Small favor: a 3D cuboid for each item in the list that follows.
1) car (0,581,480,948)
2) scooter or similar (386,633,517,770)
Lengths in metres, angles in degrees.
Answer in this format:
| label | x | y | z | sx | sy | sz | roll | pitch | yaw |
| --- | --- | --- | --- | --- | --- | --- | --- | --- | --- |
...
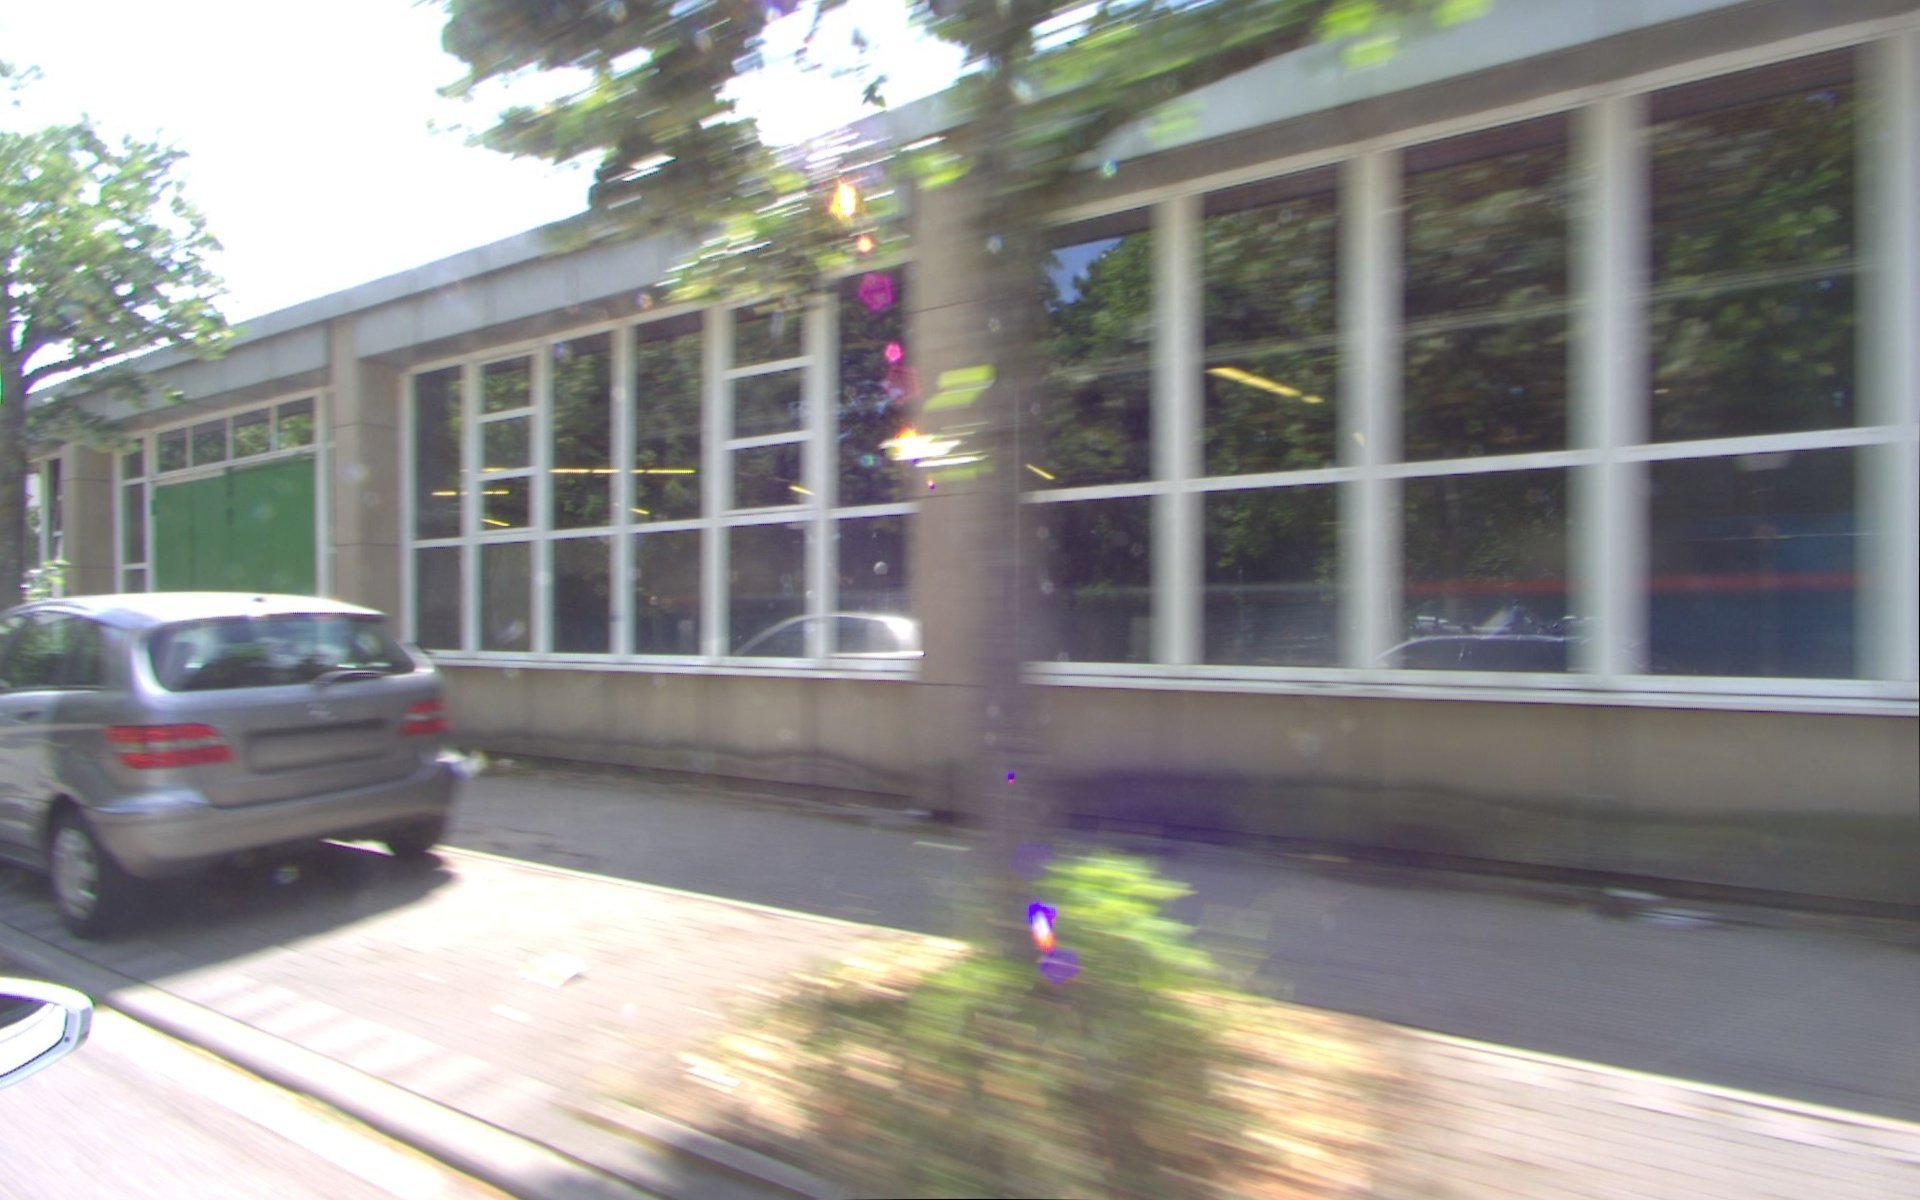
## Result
| label | x | y | z | sx | sy | sz | roll | pitch | yaw |
| --- | --- | --- | --- | --- | --- | --- | --- | --- | --- |
| car | -4.986 | 0.737 | 6.114 | 4.078 | 1.595 | 1.701 | -1 | 0 | 30 |
| scooter or similar | -4.952 | 0.950 | 9.727 | 1.471 | 1.233 | 0.415 | -1 | 1 | 32 |
